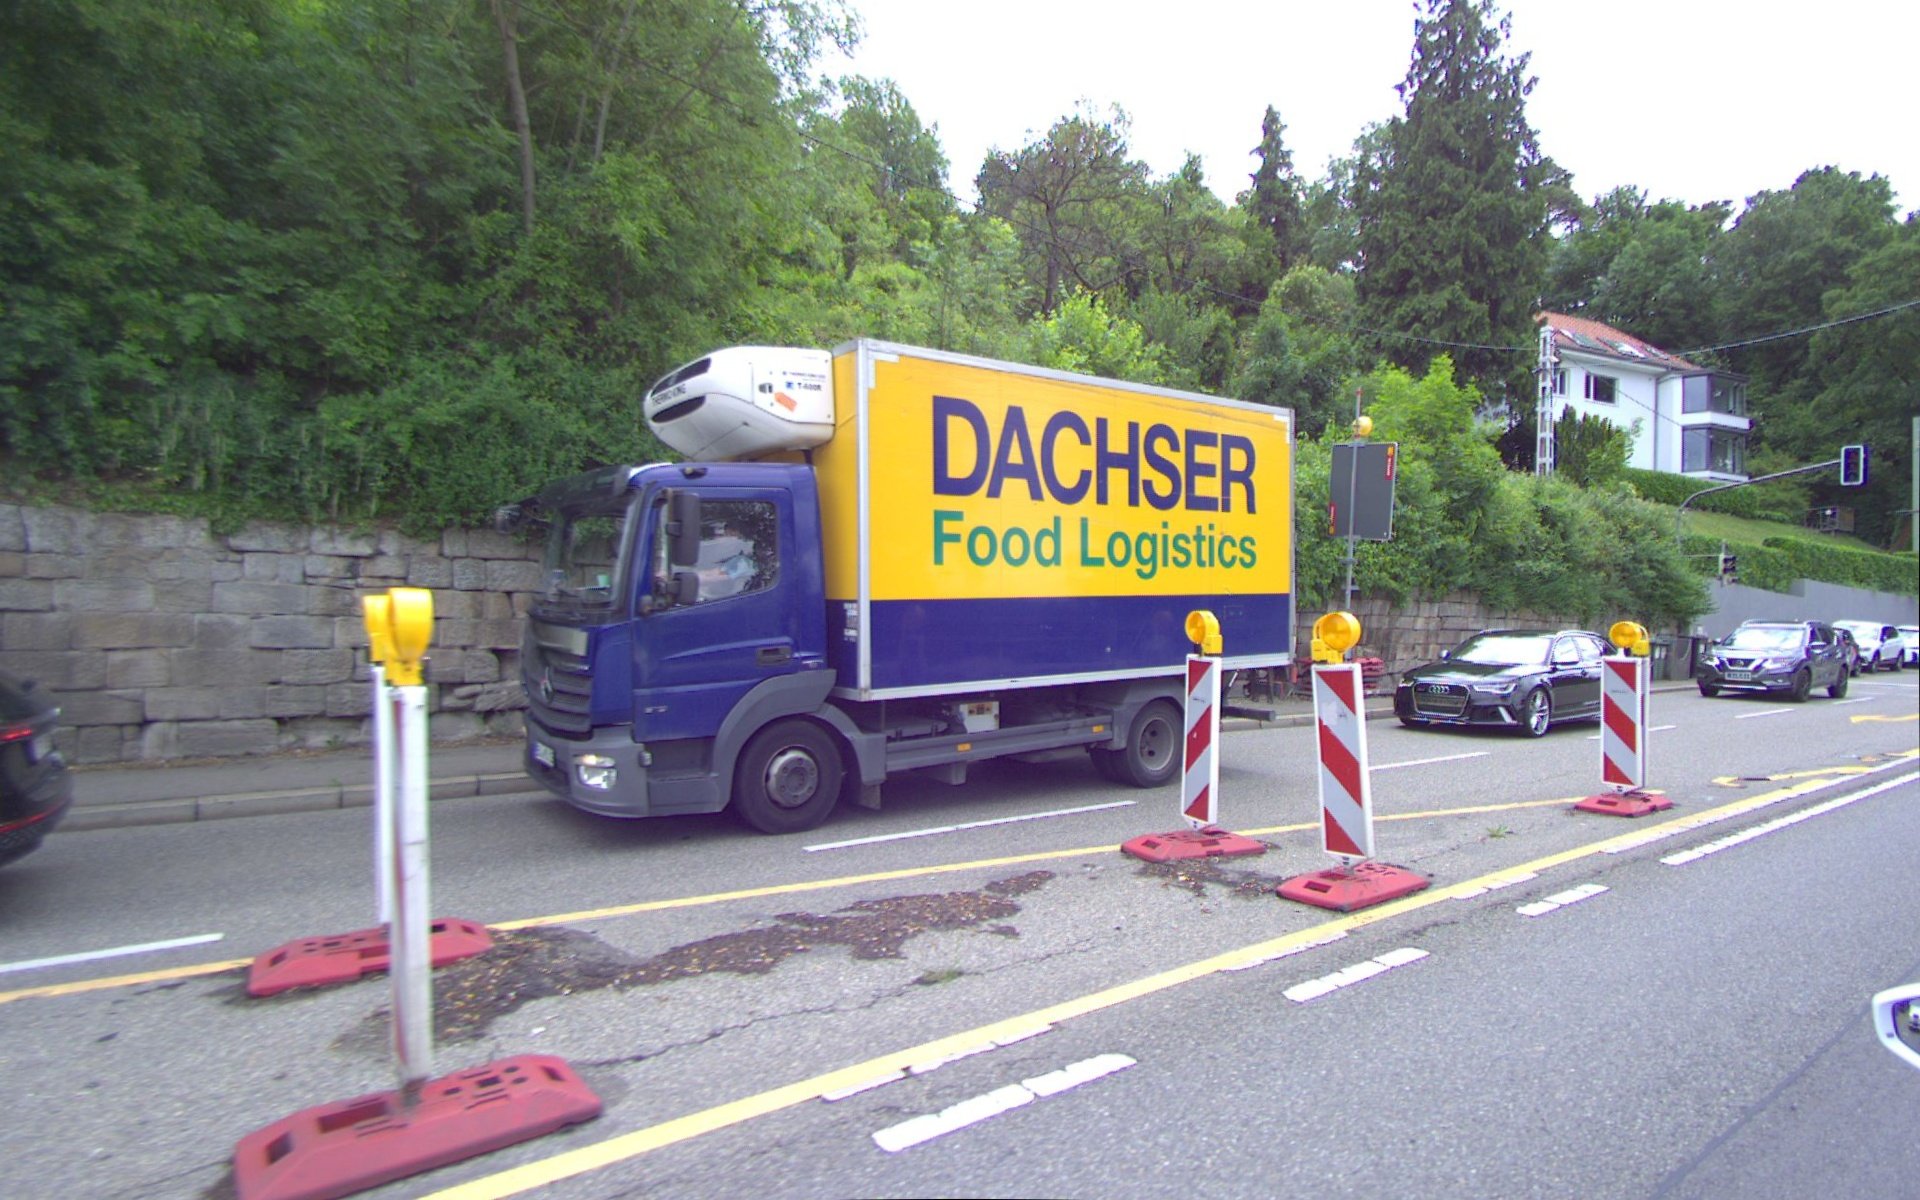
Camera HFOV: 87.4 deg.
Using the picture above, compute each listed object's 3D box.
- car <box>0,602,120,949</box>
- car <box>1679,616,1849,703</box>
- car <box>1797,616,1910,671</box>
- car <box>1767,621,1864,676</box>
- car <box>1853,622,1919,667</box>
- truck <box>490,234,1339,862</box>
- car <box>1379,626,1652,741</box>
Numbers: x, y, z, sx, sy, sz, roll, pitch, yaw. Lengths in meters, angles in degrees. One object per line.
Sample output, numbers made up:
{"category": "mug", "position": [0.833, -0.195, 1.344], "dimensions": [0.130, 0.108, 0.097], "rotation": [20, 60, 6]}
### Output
{"category": "car", "position": [-6.328, 0.707, 3.788], "dimensions": [4.702, 1.461, 1.758], "rotation": [2, 0, -37]}
{"category": "car", "position": [17.914, 1.258, 22.306], "dimensions": [4.628, 1.719, 1.870], "rotation": [2, -1, -37]}
{"category": "car", "position": [31.587, 1.516, 35.477], "dimensions": [4.713, 1.754, 1.847], "rotation": [2, 1, -35]}
{"category": "car", "position": [27.857, 1.542, 32.689], "dimensions": [2.929, 1.594, 1.699], "rotation": [0, 3, -36]}
{"category": "car", "position": [36.407, 1.708, 38.471], "dimensions": [4.418, 1.593, 1.826], "rotation": [2, 0, -27]}
{"category": "truck", "position": [0.057, -0.192, 8.956], "dimensions": [7.280, 3.556, 2.712], "rotation": [2, -1, -36]}
{"category": "car", "position": [8.480, 1.145, 15.162], "dimensions": [4.829, 1.449, 1.797], "rotation": [1, -1, -37]}
